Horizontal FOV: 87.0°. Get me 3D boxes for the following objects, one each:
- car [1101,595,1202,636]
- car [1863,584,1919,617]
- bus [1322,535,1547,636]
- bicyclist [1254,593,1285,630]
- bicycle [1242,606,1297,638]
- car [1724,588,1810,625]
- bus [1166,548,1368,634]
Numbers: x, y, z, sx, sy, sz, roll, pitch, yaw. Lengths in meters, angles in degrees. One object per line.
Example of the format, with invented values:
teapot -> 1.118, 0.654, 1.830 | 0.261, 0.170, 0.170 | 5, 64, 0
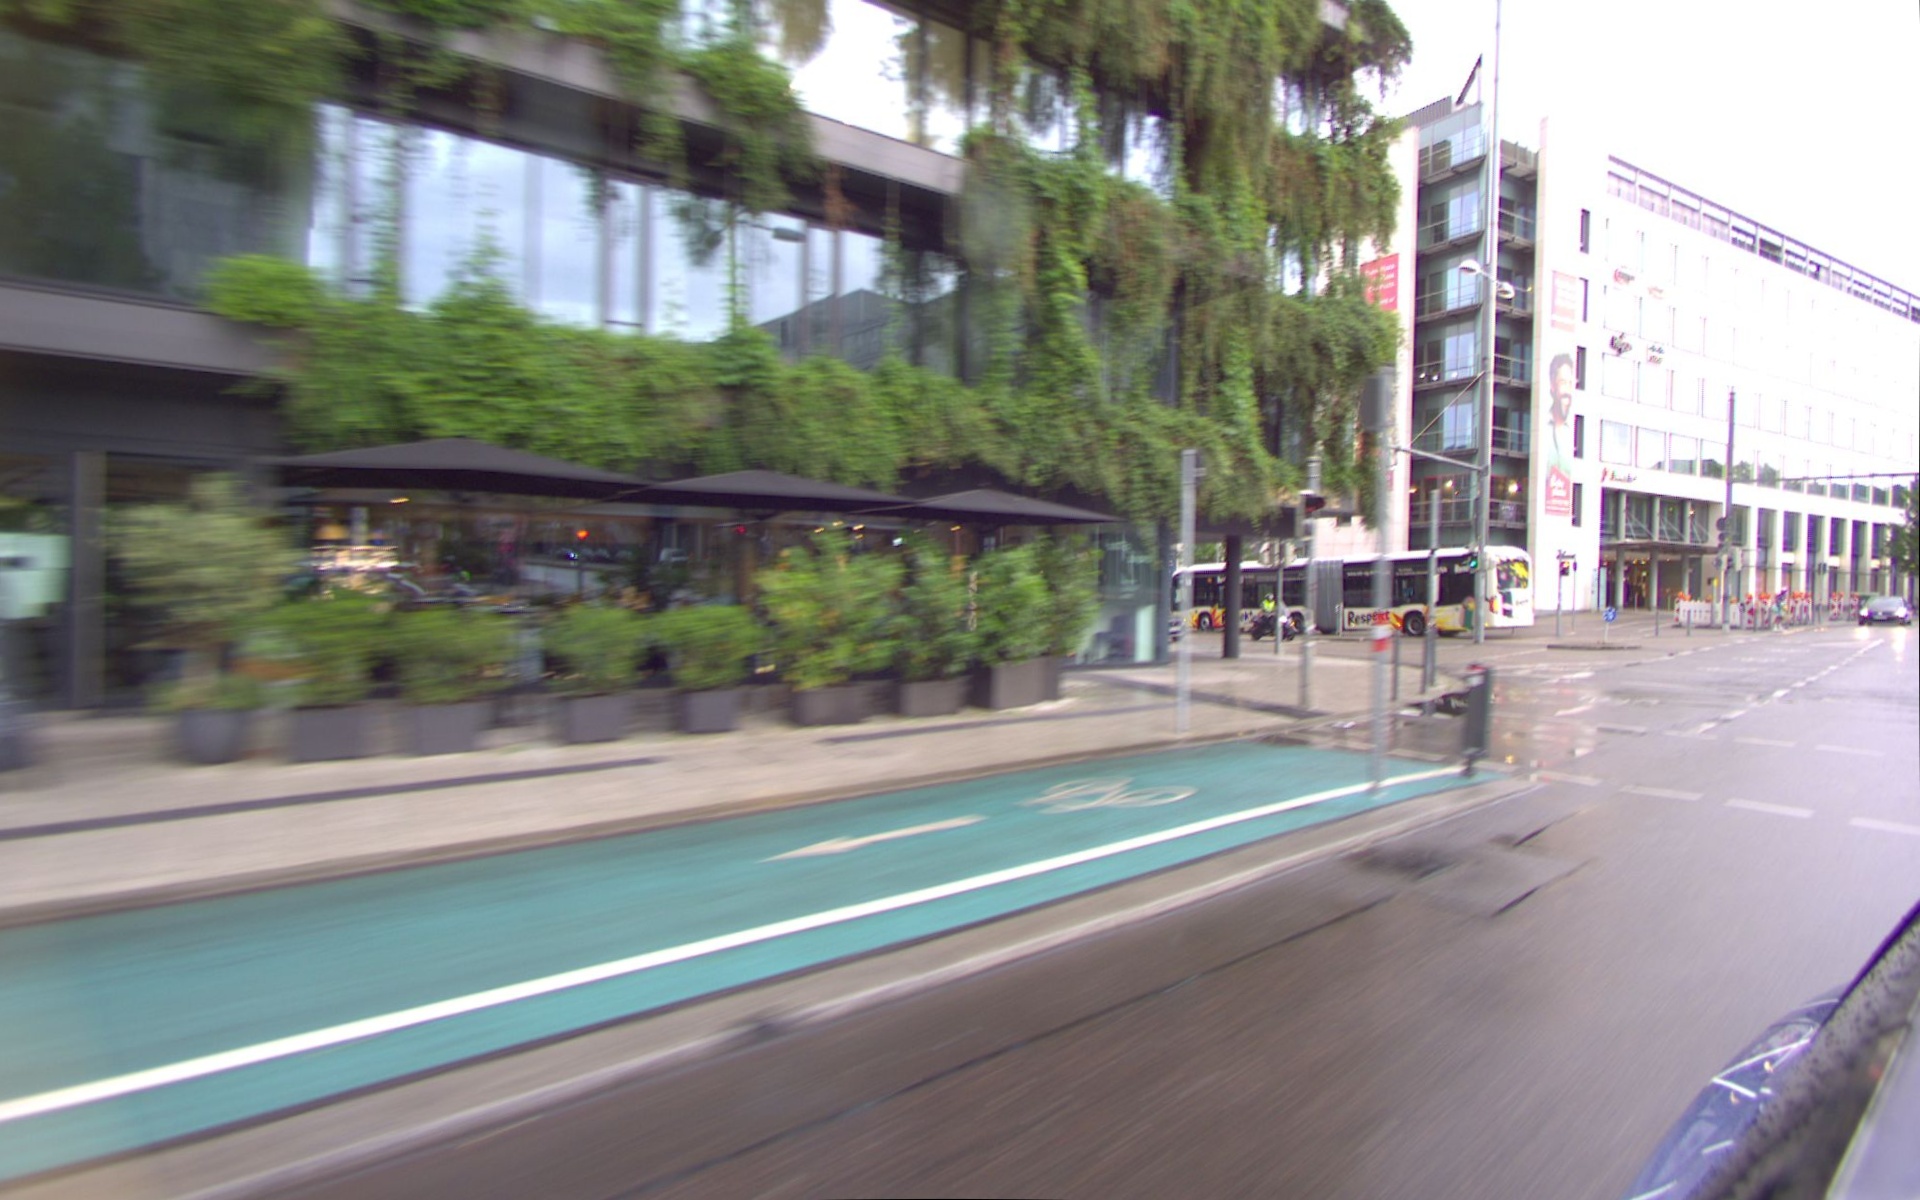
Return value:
car -> 7.486, 0.625, 39.947 | 1.790, 1.518, 4.209 | 0, -1, -25
car -> 46.705, 0.015, 50.295 | 4.582, 1.571, 1.741 | 0, 1, -35
bus -> 18.658, -0.514, 40.462 | 2.633, 3.634, 8.096 | 0, 0, -30
bicyclist -> 11.550, 0.432, 37.751 | 0.779, 1.353, 0.744 | 0, -1, -23
bicycle -> 11.538, 0.807, 37.769 | 0.792, 1.150, 2.094 | 0, -1, -23
car -> 35.803, 0.260, 44.854 | 4.581, 1.572, 1.741 | 0, 1, -35
bus -> 14.274, -0.379, 48.298 | 2.632, 3.634, 10.333 | 0, 0, -29
